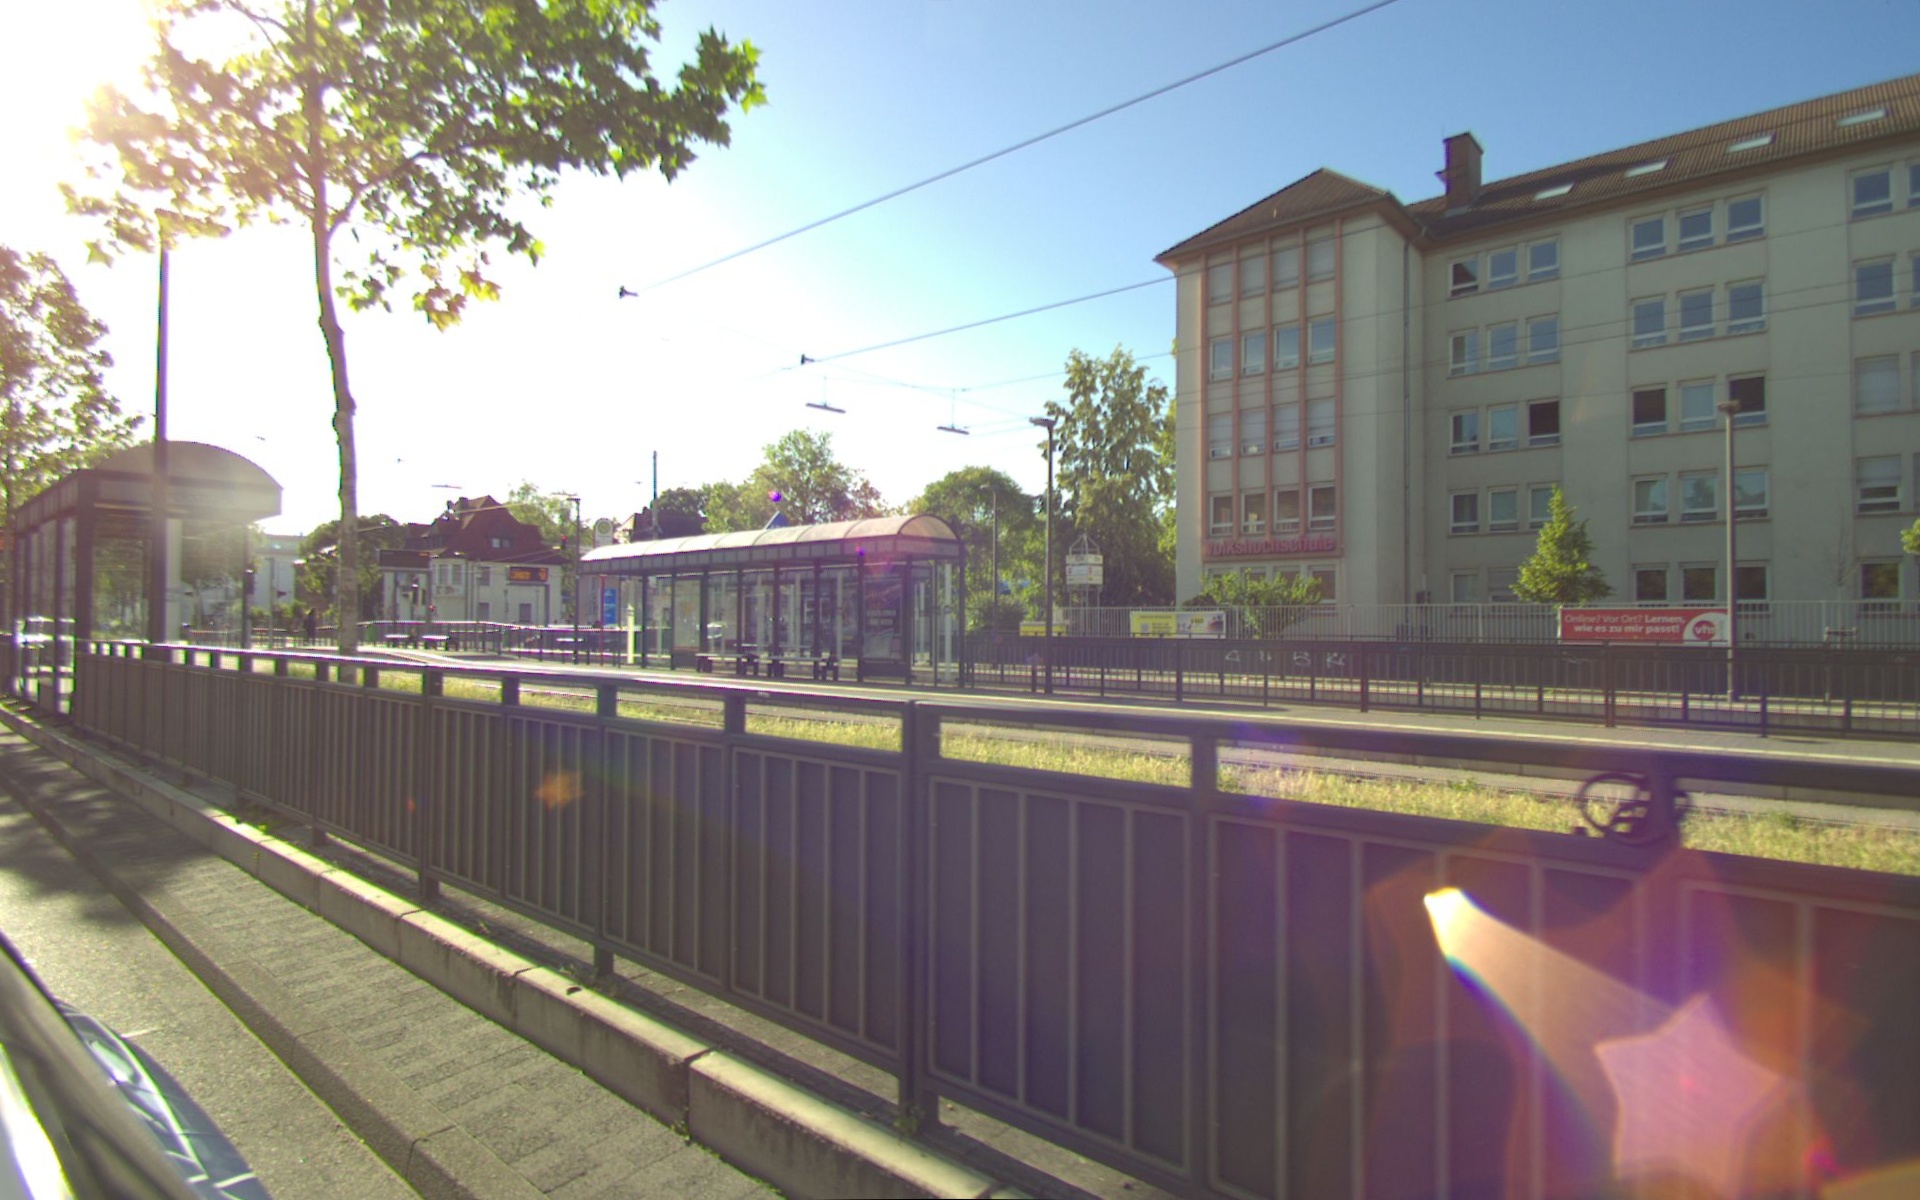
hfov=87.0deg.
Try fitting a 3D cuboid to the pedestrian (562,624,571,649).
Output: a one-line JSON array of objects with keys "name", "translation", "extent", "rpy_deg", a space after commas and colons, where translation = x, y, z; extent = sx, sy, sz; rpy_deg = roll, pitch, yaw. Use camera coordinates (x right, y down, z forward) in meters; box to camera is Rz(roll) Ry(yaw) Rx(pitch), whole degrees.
[{"name": "pedestrian", "translation": [-28.588, 2.645, 73.452], "extent": [0.486, 1.783, 0.523], "rpy_deg": [1, -2, -37]}]

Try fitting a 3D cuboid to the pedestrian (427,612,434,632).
[{"name": "pedestrian", "translation": [-46.099, 1.885, 88.079], "extent": [0.409, 1.756, 0.411], "rpy_deg": [-2, -2, 41]}]

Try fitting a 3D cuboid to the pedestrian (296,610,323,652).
[{"name": "pedestrian", "translation": [-25.230, 1.206, 39.261], "extent": [0.735, 1.604, 0.677], "rpy_deg": [-1, -2, 42]}]

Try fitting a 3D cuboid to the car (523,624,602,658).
[{"name": "car", "translation": [-17.888, 1.803, 45.491], "extent": [4.000, 1.431, 1.778], "rpy_deg": [-1, -2, 43]}]

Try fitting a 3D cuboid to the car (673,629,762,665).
[{"name": "car", "translation": [-10.304, 1.948, 42.876], "extent": [4.000, 1.431, 1.778], "rpy_deg": [-1, -2, 43]}]
